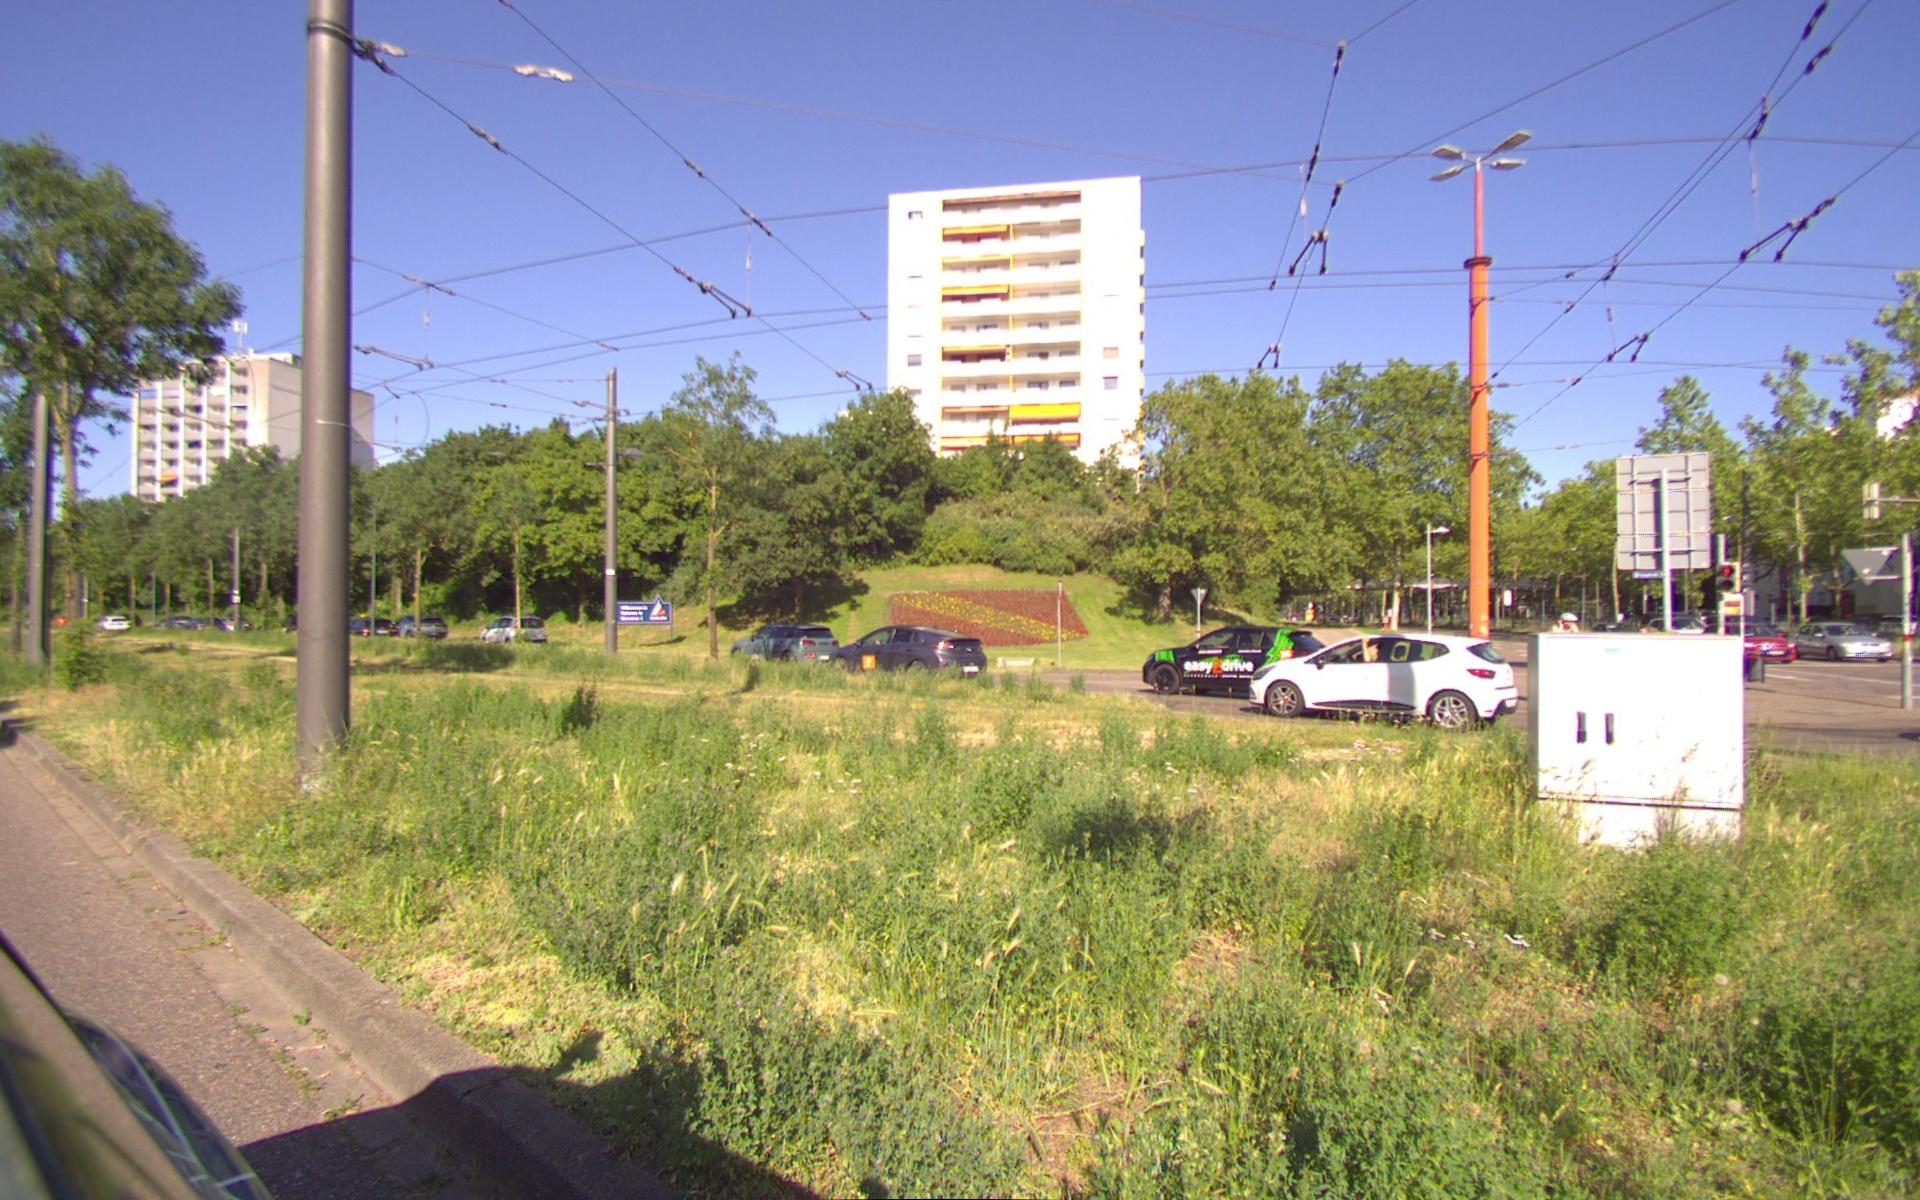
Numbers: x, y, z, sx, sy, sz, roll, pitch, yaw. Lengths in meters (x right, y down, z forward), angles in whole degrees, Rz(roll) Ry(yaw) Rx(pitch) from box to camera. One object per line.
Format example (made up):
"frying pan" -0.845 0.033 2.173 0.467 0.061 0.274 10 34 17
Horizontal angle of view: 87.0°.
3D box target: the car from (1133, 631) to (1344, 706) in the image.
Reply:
"car" 5.942 1.407 21.815 3.998 1.429 1.843 -1 -2 41

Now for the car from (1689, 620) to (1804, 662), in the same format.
"car" 28.768 1.454 37.172 1.668 1.446 4.049 -1 -1 12

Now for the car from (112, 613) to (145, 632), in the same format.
"car" -78.835 2.122 95.929 3.998 1.779 1.858 -1 -2 41

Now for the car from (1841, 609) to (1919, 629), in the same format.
"car" 65.885 1.374 72.385 1.770 1.420 4.010 1 -1 -36

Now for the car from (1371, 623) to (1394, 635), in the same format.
"car" 52.608 3.630 126.053 1.747 1.360 4.347 -1 -1 11

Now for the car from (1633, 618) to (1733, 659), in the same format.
"car" 30.475 1.573 42.798 1.809 1.648 4.237 -1 -1 11

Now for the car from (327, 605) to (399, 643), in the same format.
"car" -28.962 1.171 49.071 3.998 1.779 1.858 -1 -2 41

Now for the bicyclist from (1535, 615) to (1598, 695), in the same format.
"bicyclist" 12.155 1.082 20.287 0.719 1.557 0.770 0 -2 -20

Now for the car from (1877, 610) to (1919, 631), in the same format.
"car" 64.896 1.395 68.403 1.770 1.420 4.010 1 -1 -36

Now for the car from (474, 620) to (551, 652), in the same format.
"car" -20.566 1.613 46.451 4.000 1.409 1.822 -1 -2 43

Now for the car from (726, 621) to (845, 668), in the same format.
"car" -5.599 1.375 32.185 4.001 1.386 1.717 -1 -2 44

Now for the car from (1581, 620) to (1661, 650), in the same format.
"car" 32.256 1.675 49.537 1.747 1.360 4.346 -1 -1 12

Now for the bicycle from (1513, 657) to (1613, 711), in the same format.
"bicycle" 12.135 1.663 20.424 0.673 0.968 1.650 0 -1 -21

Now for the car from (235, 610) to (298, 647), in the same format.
"car" -39.716 1.613 57.927 3.996 2.029 1.974 -1 -2 40

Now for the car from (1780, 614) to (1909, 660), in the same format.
"car" 32.164 1.320 36.980 1.841 1.557 4.240 -1 -1 16

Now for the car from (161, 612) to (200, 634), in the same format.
"car" -65.816 1.941 85.446 3.998 1.779 1.858 -1 -2 41

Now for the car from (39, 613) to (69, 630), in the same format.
"car" -96.914 2.344 108.216 3.997 1.779 1.858 -1 -2 40

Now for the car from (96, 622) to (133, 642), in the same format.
"car" -72.313 2.706 86.530 3.998 1.674 1.884 -1 -2 41

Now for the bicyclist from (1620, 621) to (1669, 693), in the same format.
"bicyclist" 13.350 1.097 19.749 0.435 1.391 0.631 0 -2 -20

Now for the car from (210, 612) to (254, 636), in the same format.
"car" -54.942 1.785 76.317 3.998 1.779 1.858 -1 -2 41

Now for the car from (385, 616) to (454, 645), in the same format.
"car" -28.789 1.610 53.852 3.998 1.497 1.972 -1 -2 41

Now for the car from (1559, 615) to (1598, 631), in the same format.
"car" 79.784 2.989 130.609 3.969 2.029 1.987 -1 -1 20

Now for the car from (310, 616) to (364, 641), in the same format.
"car" -37.847 1.700 61.480 3.998 1.453 1.710 -1 -2 41

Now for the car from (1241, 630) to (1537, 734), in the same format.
"car" 6.805 1.206 16.282 4.000 1.429 1.842 -1 -2 43

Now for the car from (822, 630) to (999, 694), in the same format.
"car" -1.256 1.424 24.274 4.229 1.371 1.801 -1 -2 43

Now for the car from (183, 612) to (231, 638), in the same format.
"car" -51.761 1.724 69.584 3.998 1.779 1.858 -1 -2 41
